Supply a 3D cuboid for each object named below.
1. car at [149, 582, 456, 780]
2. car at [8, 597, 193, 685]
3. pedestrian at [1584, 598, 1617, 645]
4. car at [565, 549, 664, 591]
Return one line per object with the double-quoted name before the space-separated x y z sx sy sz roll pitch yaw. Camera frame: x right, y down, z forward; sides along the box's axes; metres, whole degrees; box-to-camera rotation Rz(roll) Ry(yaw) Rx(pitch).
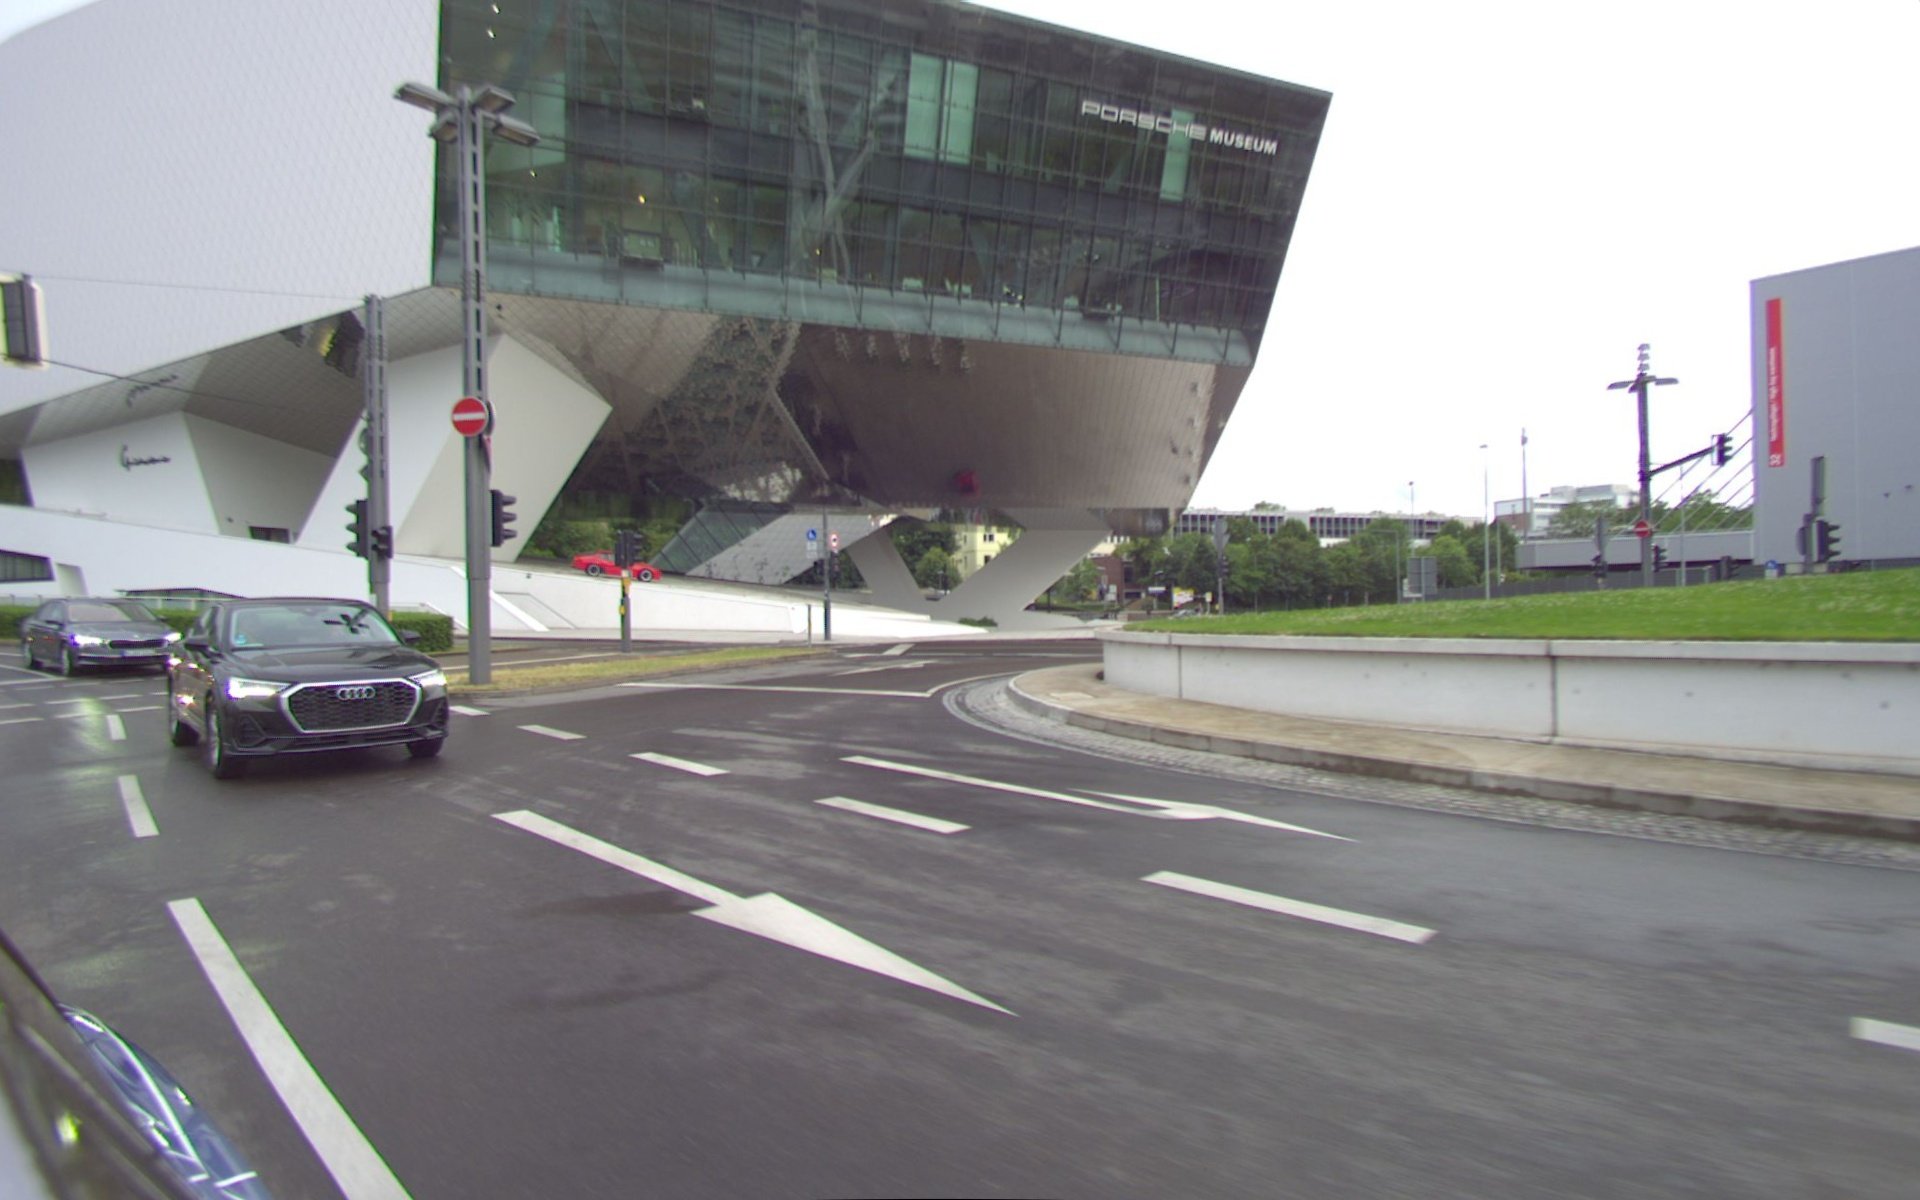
"car" -6.670 0.673 10.047 1.732 1.530 4.397 1 -2 -44
"car" -17.121 0.729 20.103 4.293 1.449 1.796 1 2 36
"pedestrian" 24.986 0.837 39.486 0.844 1.816 0.647 -1 0 8
"car" -16.469 -1.410 48.233 4.173 1.395 2.007 8 -3 -24
